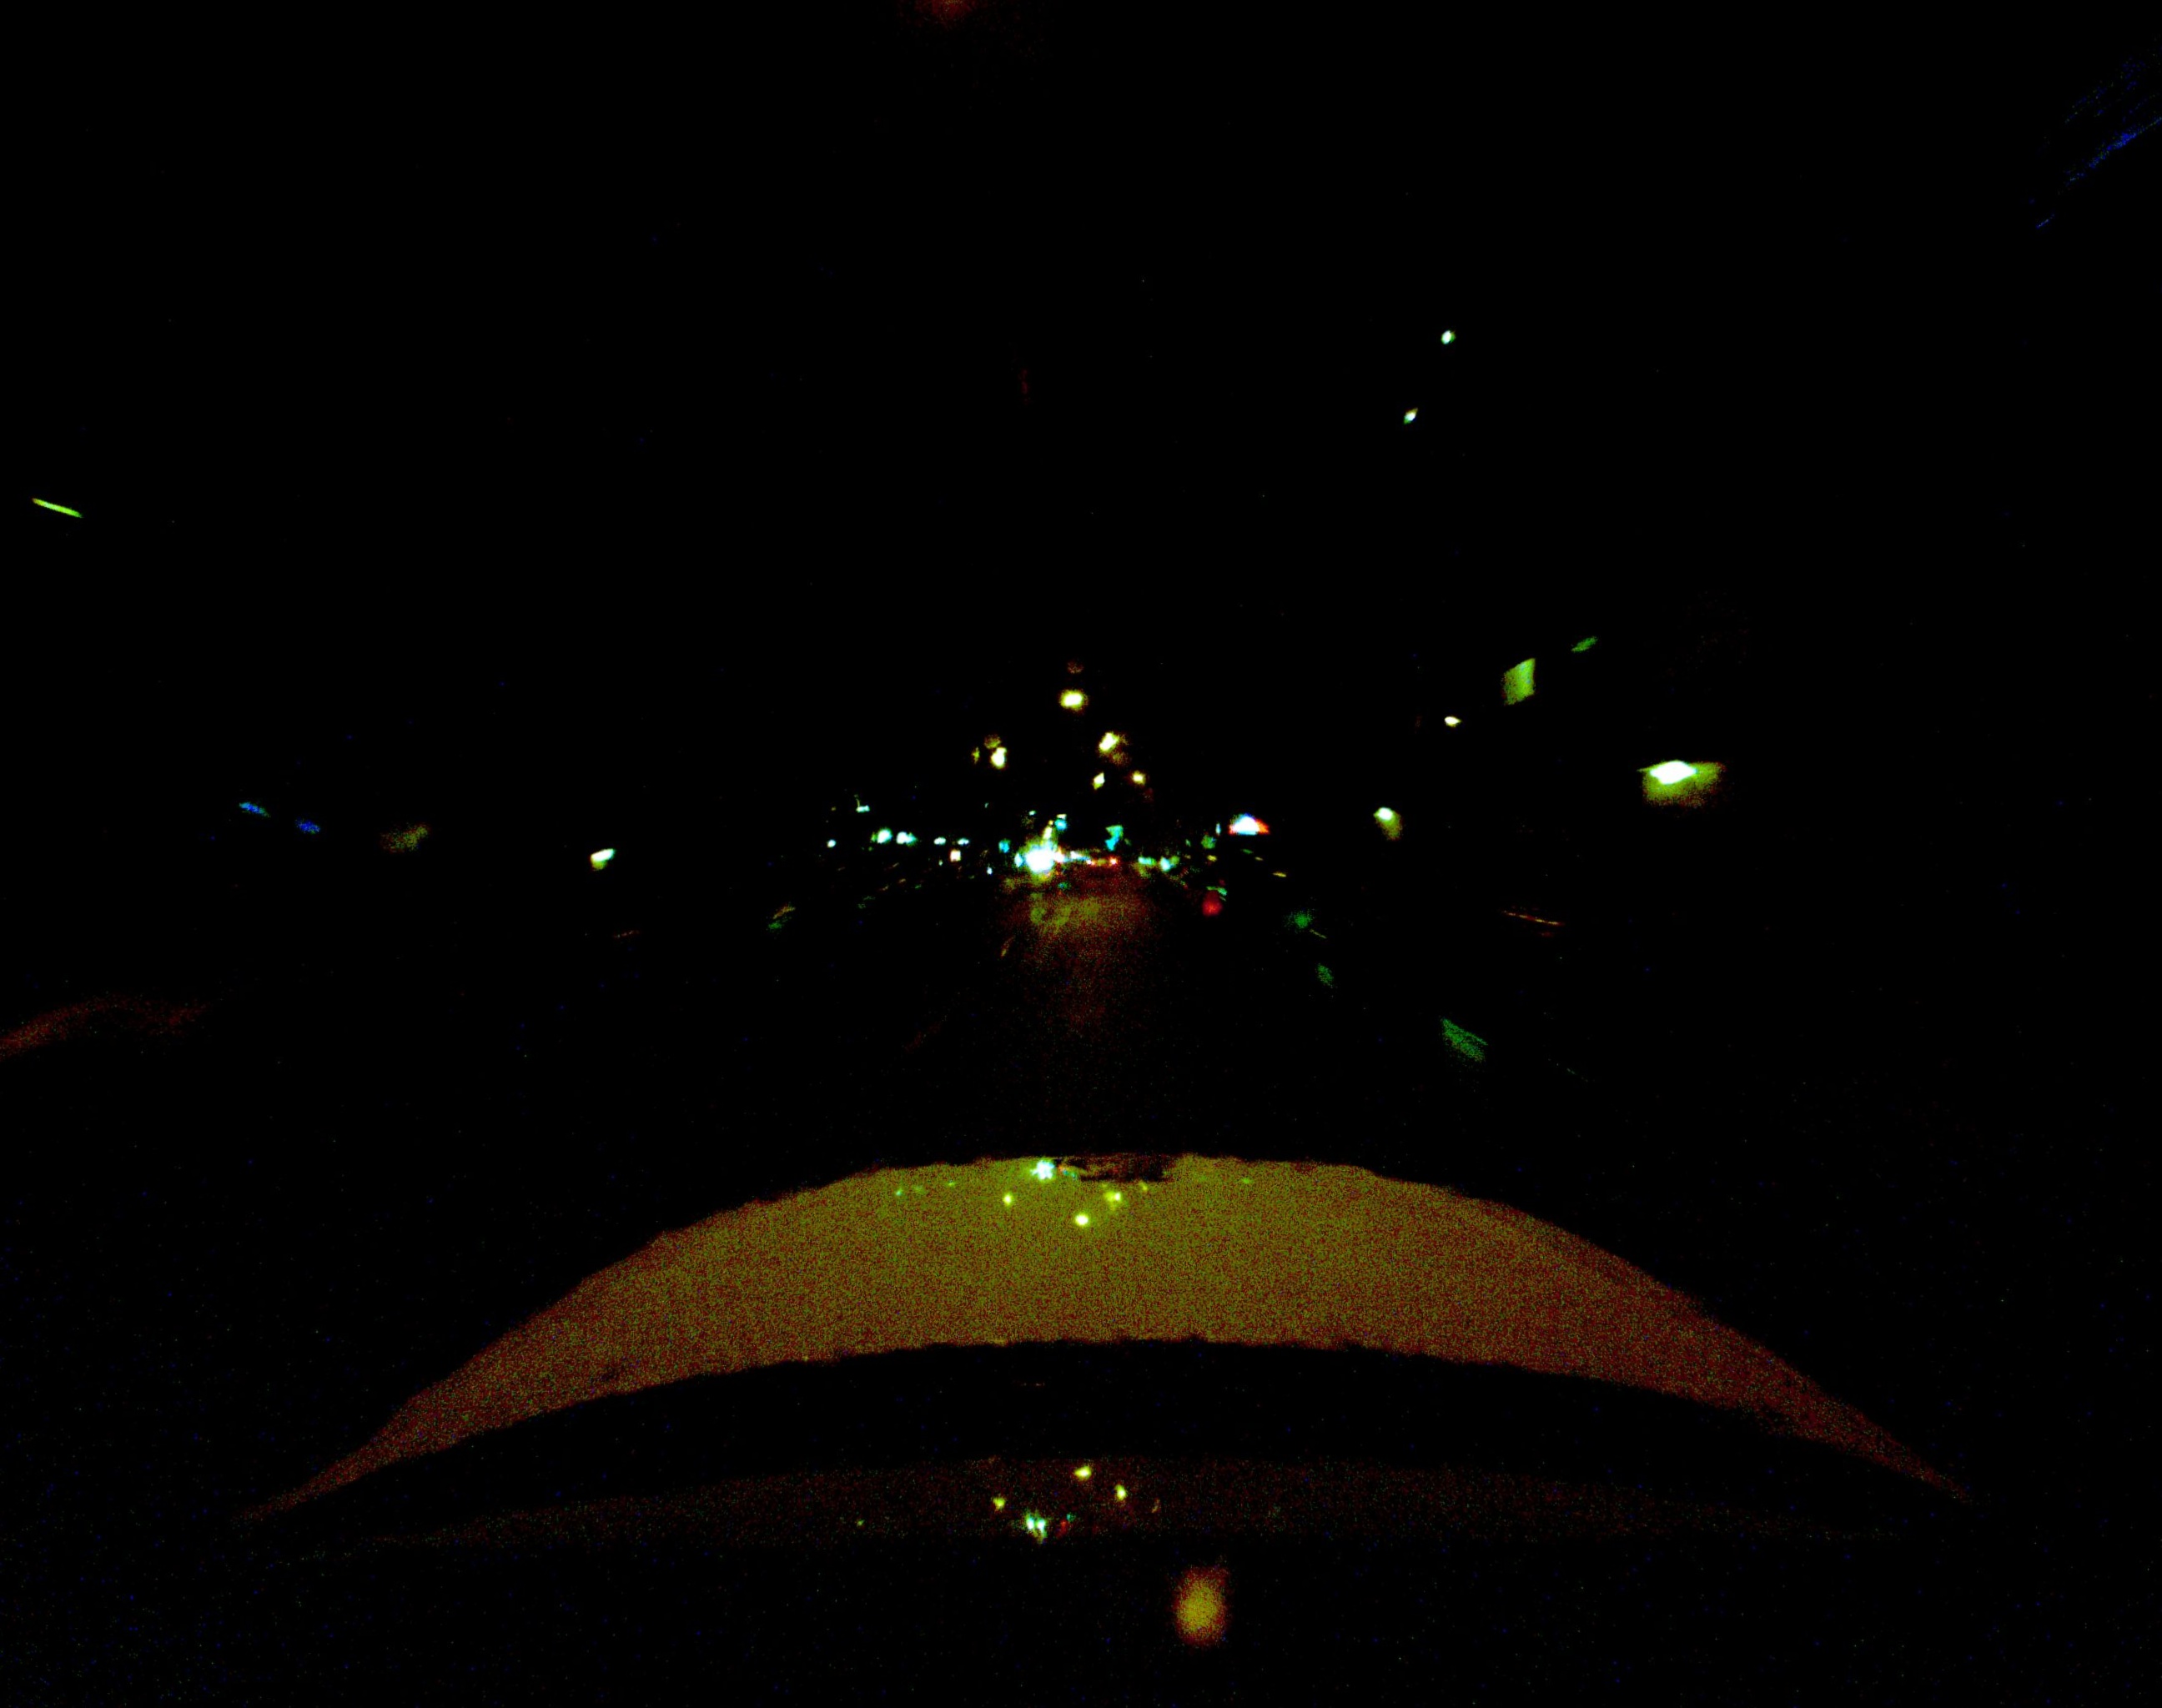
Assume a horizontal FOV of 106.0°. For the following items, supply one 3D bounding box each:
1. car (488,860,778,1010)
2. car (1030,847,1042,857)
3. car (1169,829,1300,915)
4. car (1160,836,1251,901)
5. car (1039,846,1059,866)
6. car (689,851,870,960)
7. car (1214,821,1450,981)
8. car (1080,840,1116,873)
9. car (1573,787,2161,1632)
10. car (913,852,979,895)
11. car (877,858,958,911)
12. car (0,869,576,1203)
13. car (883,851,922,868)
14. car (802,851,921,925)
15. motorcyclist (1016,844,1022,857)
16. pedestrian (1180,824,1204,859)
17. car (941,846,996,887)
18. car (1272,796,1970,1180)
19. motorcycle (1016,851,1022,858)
[{"bbox_3d":[-5.714,0.916,11.045,1.593,1.431,4.004,-6,1,0],"label":"car"},{"bbox_3d":[-7.905,-0.365,143.175,1.850,1.499,4.761,-3,1,-5],"label":"car"},{"bbox_3d":[2.987,0.294,16.802,1.816,1.421,4.489,-4,1,1],"label":"car"},{"bbox_3d":[3.448,0.345,23.380,1.816,1.530,4.783,-4,1,1],"label":"car"},{"bbox_3d":[-3.564,0.195,90.880,2.029,1.953,5.195,-5,1,-2],"label":"car"},{"bbox_3d":[-5.498,0.839,15.502,1.592,1.605,4.260,-6,1,2],"label":"car"},{"bbox_3d":[3.135,0.494,11.222,1.816,1.637,4.489,-4,1,1],"label":"car"},{"bbox_3d":[1.099,0.125,53.282,2.160,1.972,4.303,-3,0,1],"label":"car"},{"bbox_3d":[2.859,0.629,1.155,1.817,1.547,4.357,-4,1,3],"label":"car"},{"bbox_3d":[-5.189,0.700,31.847,1.592,1.373,4.355,-6,1,2],"label":"car"},{"bbox_3d":[-5.264,0.930,26.746,1.592,1.373,4.069,-6,1,2],"label":"car"},{"bbox_3d":[-5.998,0.989,5.784,1.632,1.456,4.932,-6,1,0],"label":"car"},{"bbox_3d":[-16.810,0.513,76.790,1.699,1.431,3.939,-3,1,20],"label":"car"},{"bbox_3d":[-5.402,0.761,20.586,1.592,1.486,4.276,-6,1,2],"label":"car"},{"bbox_3d":[-10.574,-0.607,139.200,0.690,2.013,0.983,-3,1,2],"label":"motorcyclist"},{"bbox_3d":[5.210,-0.596,38.294,1.044,1.575,1.020,-2,0,6],"label":"pedestrian"},{"bbox_3d":[-5.027,0.522,36.799,1.592,1.563,4.381,-6,1,2],"label":"car"},{"bbox_3d":[2.930,0.549,6.044,1.793,1.530,5.052,-4,1,1],"label":"car"},{"bbox_3d":[-10.542,0.052,139.273,0.698,1.138,2.177,-3,1,2],"label":"motorcycle"}]
